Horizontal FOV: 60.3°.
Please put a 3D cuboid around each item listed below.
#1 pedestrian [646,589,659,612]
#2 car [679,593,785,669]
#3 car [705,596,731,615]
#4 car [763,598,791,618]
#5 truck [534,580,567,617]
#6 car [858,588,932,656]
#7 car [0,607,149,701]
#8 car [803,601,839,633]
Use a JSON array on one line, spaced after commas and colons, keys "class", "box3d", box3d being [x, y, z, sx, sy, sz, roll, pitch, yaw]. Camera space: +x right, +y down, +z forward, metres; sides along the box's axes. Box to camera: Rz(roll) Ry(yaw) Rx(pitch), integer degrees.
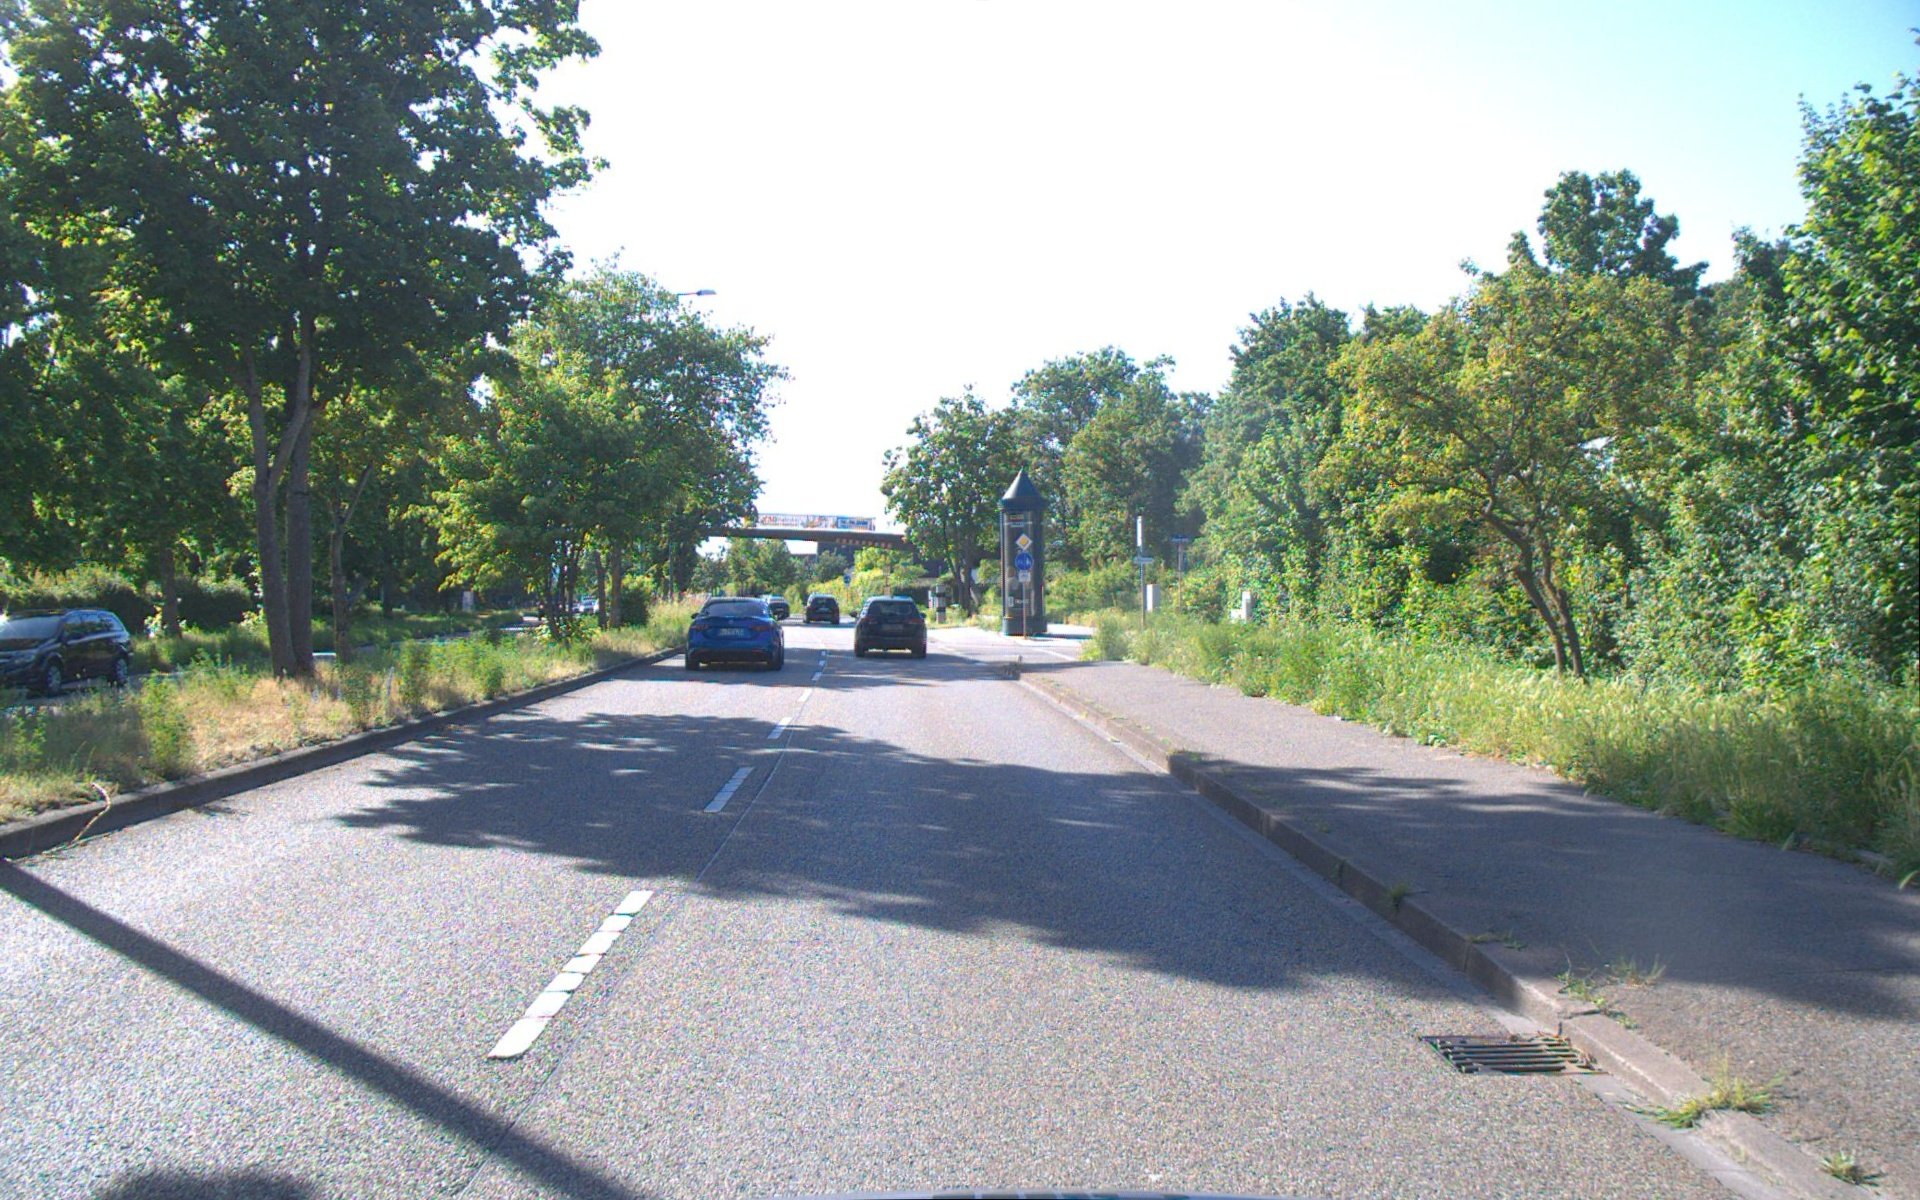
[{"class": "pedestrian", "box3d": [-23.734, 0.054, 127.799, 0.617, 1.726, 0.943, 0, 0, 16]}, {"class": "car", "box3d": [-4.575, 0.590, 33.695, 1.956, 1.429, 3.995, 1, 0, -5]}, {"class": "car", "box3d": [-18.430, 0.441, 125.907, 1.864, 1.379, 3.991, 0, 1, -10]}, {"class": "car", "box3d": [-13.439, 0.591, 121.224, 1.864, 1.379, 3.991, 0, 1, -10]}, {"class": "truck", "box3d": [-30.495, -0.119, 123.106, 2.137, 2.556, 5.717, -3, 1, -16]}, {"class": "car", "box3d": [-1.658, 0.555, 41.678, 1.725, 1.587, 3.997, 1, -1, -3]}, {"class": "car", "box3d": [-16.152, 0.915, 29.084, 1.659, 1.461, 4.935, -2, 0, -5]}, {"class": "car", "box3d": [-7.404, 0.883, 88.024, 1.711, 1.625, 4.167, 0, 0, -8]}]
